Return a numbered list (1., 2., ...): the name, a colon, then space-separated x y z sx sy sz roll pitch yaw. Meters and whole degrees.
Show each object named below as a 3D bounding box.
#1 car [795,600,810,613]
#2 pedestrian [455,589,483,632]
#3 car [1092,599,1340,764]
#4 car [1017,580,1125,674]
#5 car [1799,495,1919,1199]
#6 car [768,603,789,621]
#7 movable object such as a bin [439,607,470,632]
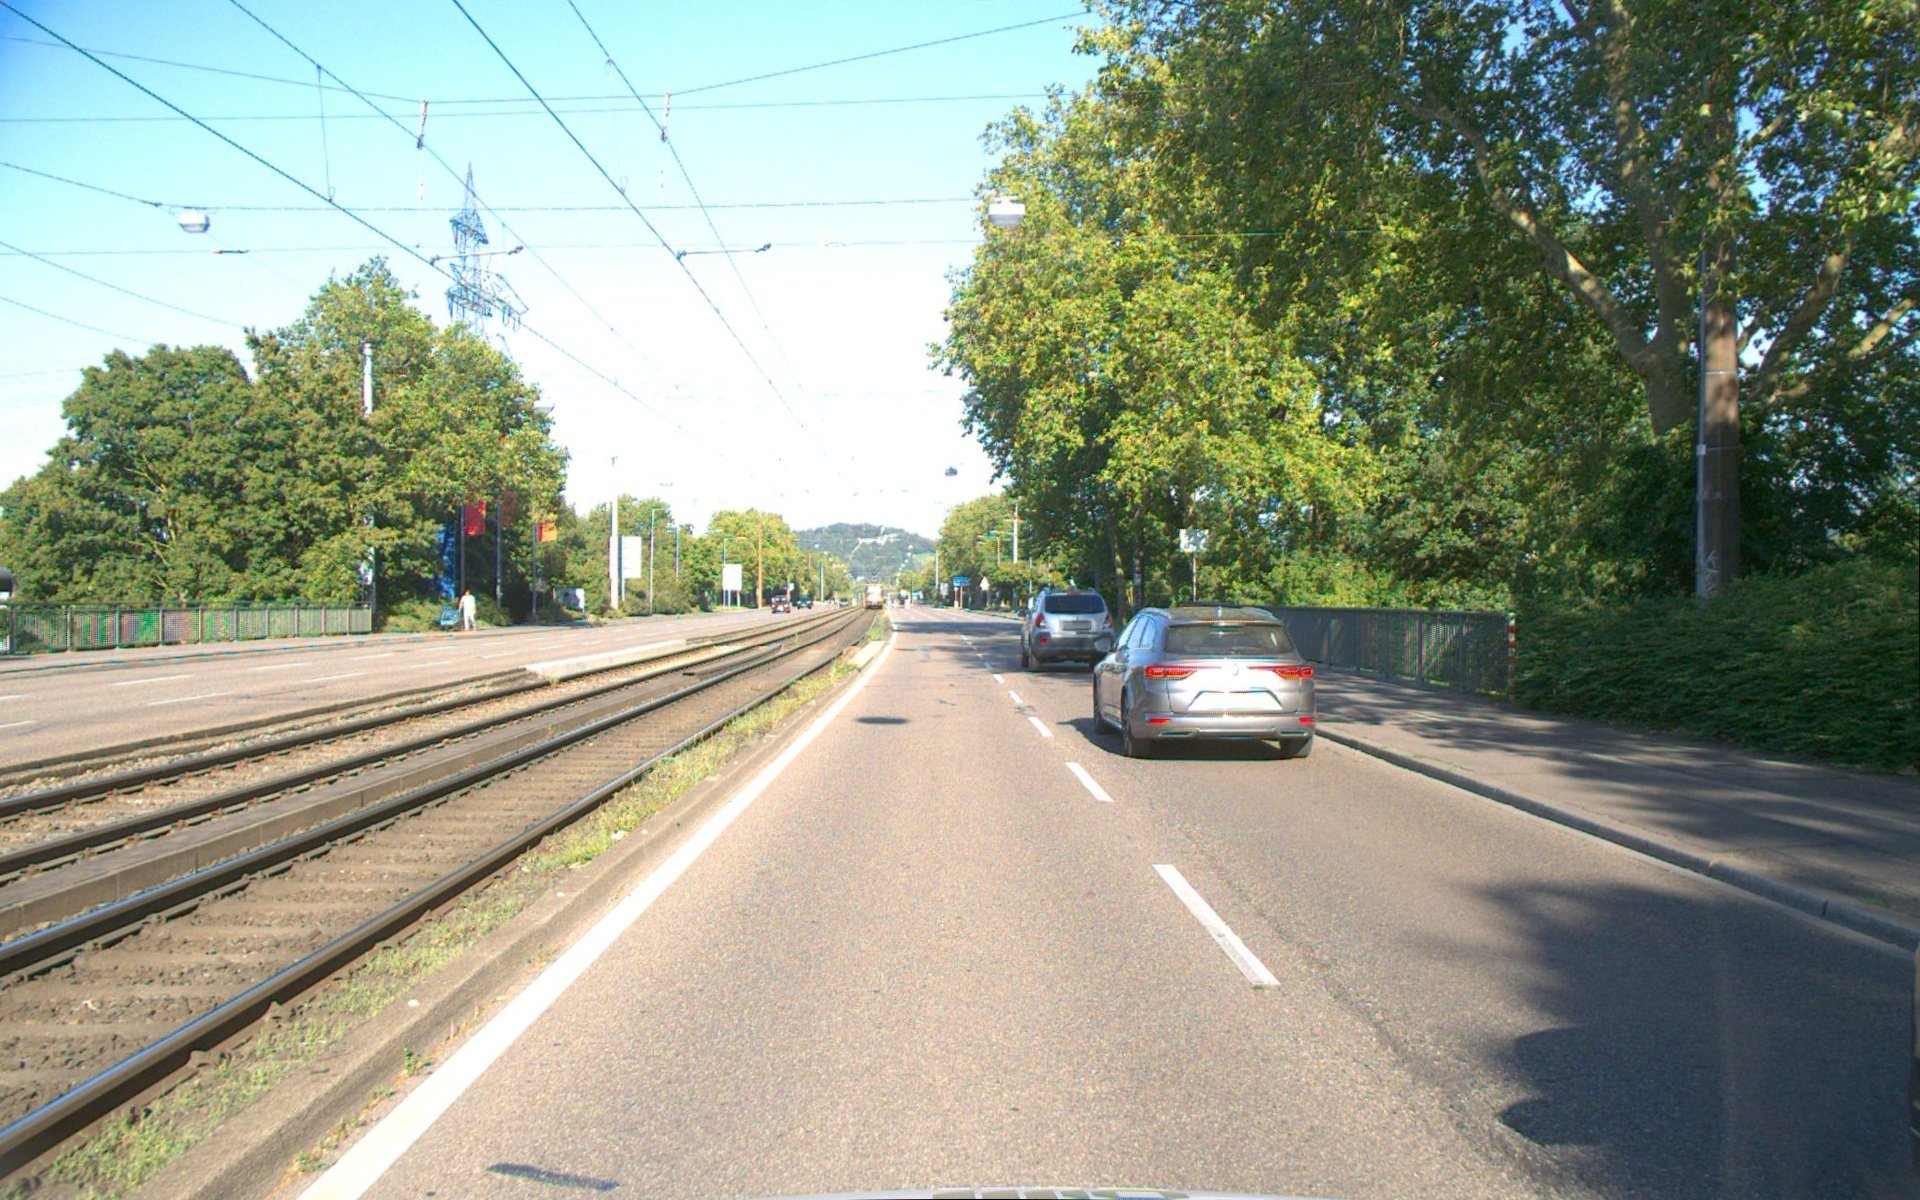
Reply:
1. car: -22.170 0.934 233.007 1.868 1.672 3.997 2 1 -4
2. pedestrian: -20.974 0.458 70.675 0.709 1.787 0.835 2 -1 20
3. car: 2.533 0.753 17.504 1.828 1.493 4.665 0 0 -1
4. car: 2.332 0.522 35.658 1.845 1.827 3.999 2 1 -2
5. car: 3.035 0.627 1.872 1.807 1.690 4.438 0 0 -2
6. car: -18.854 1.272 171.956 1.825 1.750 3.999 0 1 -2
7. movable object such as a bin: -21.314 0.832 69.760 0.709 0.978 1.101 2 -1 20
